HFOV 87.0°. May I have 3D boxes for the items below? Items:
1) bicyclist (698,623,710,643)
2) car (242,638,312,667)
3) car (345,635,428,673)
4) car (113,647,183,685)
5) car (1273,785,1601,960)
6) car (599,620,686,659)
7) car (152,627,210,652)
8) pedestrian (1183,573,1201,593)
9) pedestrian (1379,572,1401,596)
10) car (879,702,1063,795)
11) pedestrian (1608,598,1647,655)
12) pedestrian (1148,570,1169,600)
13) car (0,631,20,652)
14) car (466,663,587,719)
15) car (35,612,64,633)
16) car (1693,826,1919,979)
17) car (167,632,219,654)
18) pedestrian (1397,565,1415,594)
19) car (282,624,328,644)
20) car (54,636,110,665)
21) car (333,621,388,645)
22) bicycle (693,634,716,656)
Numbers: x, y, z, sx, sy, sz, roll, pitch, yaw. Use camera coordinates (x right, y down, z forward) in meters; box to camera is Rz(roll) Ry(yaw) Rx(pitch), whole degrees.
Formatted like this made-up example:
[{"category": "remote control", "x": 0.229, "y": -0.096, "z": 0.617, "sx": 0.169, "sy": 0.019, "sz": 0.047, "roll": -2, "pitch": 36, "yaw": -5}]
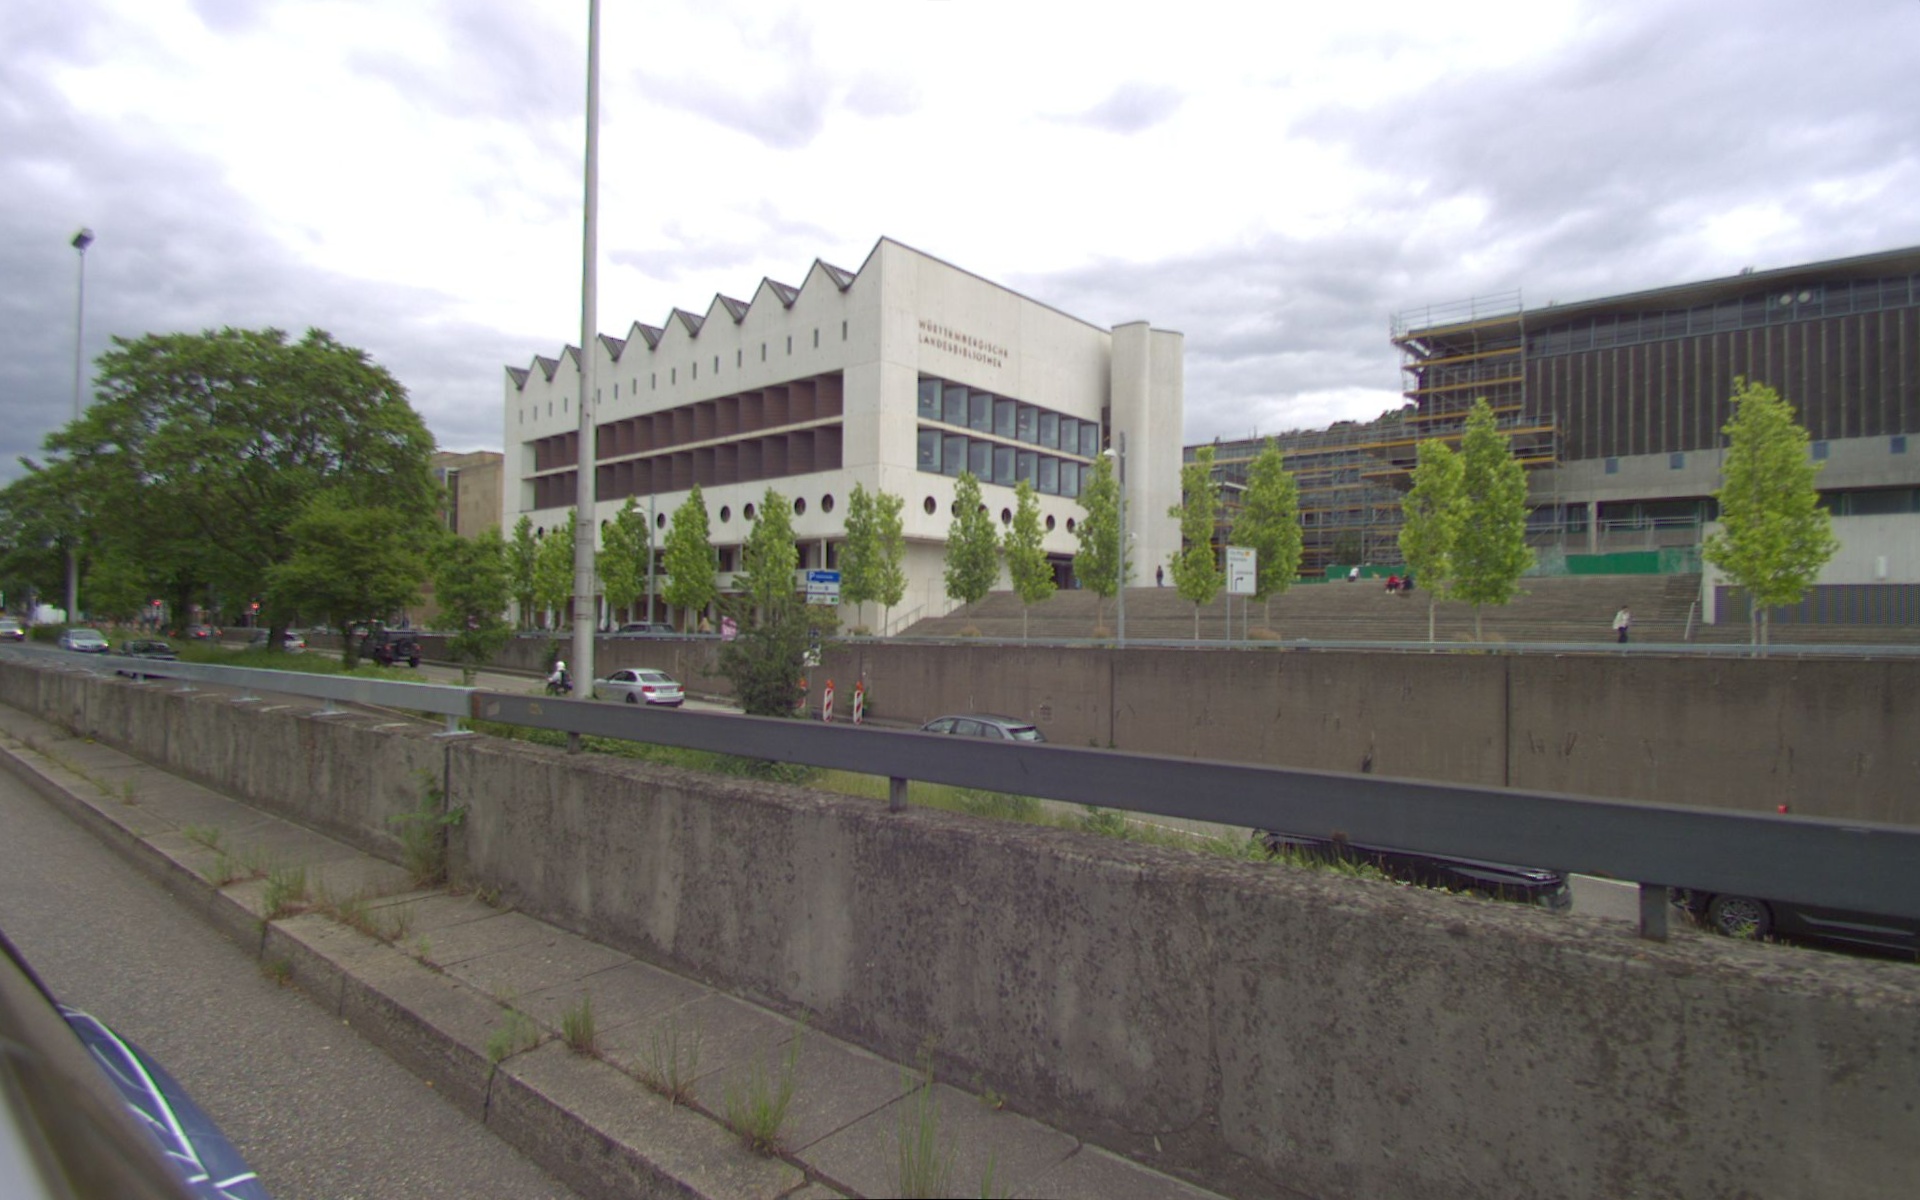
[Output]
[{"category": "bicyclist", "x": -15.308, "y": 1.992, "z": 60.557, "sx": 0.643, "sy": 1.169, "sz": 0.398, "roll": -1, "pitch": 0, "yaw": 39}, {"category": "car", "x": -35.608, "y": 2.717, "z": 52.713, "sx": 3.998, "sy": 1.409, "sz": 1.973, "roll": -1, "pitch": -5, "yaw": 41}, {"category": "car", "x": -29.253, "y": 2.737, "z": 51.590, "sx": 4.514, "sy": 1.657, "sz": 2.133, "roll": 1, "pitch": -3, "yaw": 40}, {"category": "car", "x": -33.793, "y": 2.722, "z": 42.082, "sx": 4.089, "sy": 1.425, "sz": 1.539, "roll": -1, "pitch": -2, "yaw": 40}, {"category": "car", "x": 7.079, "y": 3.929, "z": 15.237, "sx": 4.144, "sy": 1.500, "sz": 1.757, "roll": 2, "pitch": -1, "yaw": 40}, {"category": "car", "x": -14.817, "y": 1.818, "z": 47.166, "sx": 4.272, "sy": 1.595, "sz": 1.818, "roll": 0, "pitch": -4, "yaw": 41}, {"category": "car", "x": -47.746, "y": 2.401, "z": 61.991, "sx": 3.998, "sy": 1.409, "sz": 1.973, "roll": -1, "pitch": -5, "yaw": 41}, {"category": "pedestrian", "x": 13.369, "y": -0.976, "z": 58.320, "sx": 0.767, "sy": 0.951, "sz": 0.718, "roll": 2, "pitch": 21, "yaw": 34}, {"category": "pedestrian", "x": 21.390, "y": -0.807, "z": 50.346, "sx": 0.767, "sy": 0.949, "sz": 0.719, "roll": -3, "pitch": 22, "yaw": 35}, {"category": "car", "x": 0.218, "y": 3.628, "z": 25.350, "sx": 4.388, "sy": 1.625, "sz": 1.851, "roll": 2, "pitch": -1, "yaw": 40}, {"category": "pedestrian", "x": 24.529, "y": 0.981, "z": 37.191, "sx": 0.729, "sy": 2.029, "sz": 0.794, "roll": -1, "pitch": -3, "yaw": -10}, {"category": "pedestrian", "x": 13.375, "y": -0.999, "z": 68.128, "sx": 1.079, "sy": 2.029, "sz": 0.940, "roll": -1, "pitch": 0, "yaw": 35}, {"category": "car", "x": -68.125, "y": 2.929, "z": 71.805, "sx": 4.089, "sy": 1.425, "sz": 1.636, "roll": -1, "pitch": -2, "yaw": 40}, {"category": "car", "x": -14.833, "y": 3.062, "z": 34.536, "sx": 4.515, "sy": 1.687, "sz": 1.973, "roll": -1, "pitch": -5, "yaw": 41}, {"category": "car", "x": -86.732, "y": 2.107, "z": 96.378, "sx": 3.999, "sy": 1.868, "sz": 1.588, "roll": -1, "pitch": 0, "yaw": 42}, {"category": "car", "x": 12.836, "y": 4.310, "z": 14.203, "sx": 4.003, "sy": 1.338, "sz": 1.787, "roll": 2, "pitch": -1, "yaw": 40}, {"category": "car", "x": -54.285, "y": 3.035, "z": 71.634, "sx": 3.995, "sy": 1.409, "sz": 1.974, "roll": -1, "pitch": -5, "yaw": 39}, {"category": "pedestrian", "x": 21.953, "y": -0.997, "z": 49.844, "sx": 0.623, "sy": 1.248, "sz": 0.665, "roll": -1, "pitch": 21, "yaw": 34}, {"category": "car", "x": -55.272, "y": 2.862, "z": 85.366, "sx": 4.484, "sy": 1.640, "sz": 1.931, "roll": -1, "pitch": -1, "yaw": 38}, {"category": "car", "x": -45.562, "y": 2.581, "z": 52.517, "sx": 4.088, "sy": 1.425, "sz": 1.539, "roll": -1, "pitch": -2, "yaw": 40}, {"category": "car", "x": -43.553, "y": 2.386, "z": 73.461, "sx": 4.484, "sy": 1.640, "sz": 1.931, "roll": -1, "pitch": -1, "yaw": 38}, {"category": "bicycle", "x": -15.307, "y": 2.677, "z": 60.566, "sx": 1.697, "sy": 1.282, "sz": 0.398, "roll": -1, "pitch": 0, "yaw": 39}]
